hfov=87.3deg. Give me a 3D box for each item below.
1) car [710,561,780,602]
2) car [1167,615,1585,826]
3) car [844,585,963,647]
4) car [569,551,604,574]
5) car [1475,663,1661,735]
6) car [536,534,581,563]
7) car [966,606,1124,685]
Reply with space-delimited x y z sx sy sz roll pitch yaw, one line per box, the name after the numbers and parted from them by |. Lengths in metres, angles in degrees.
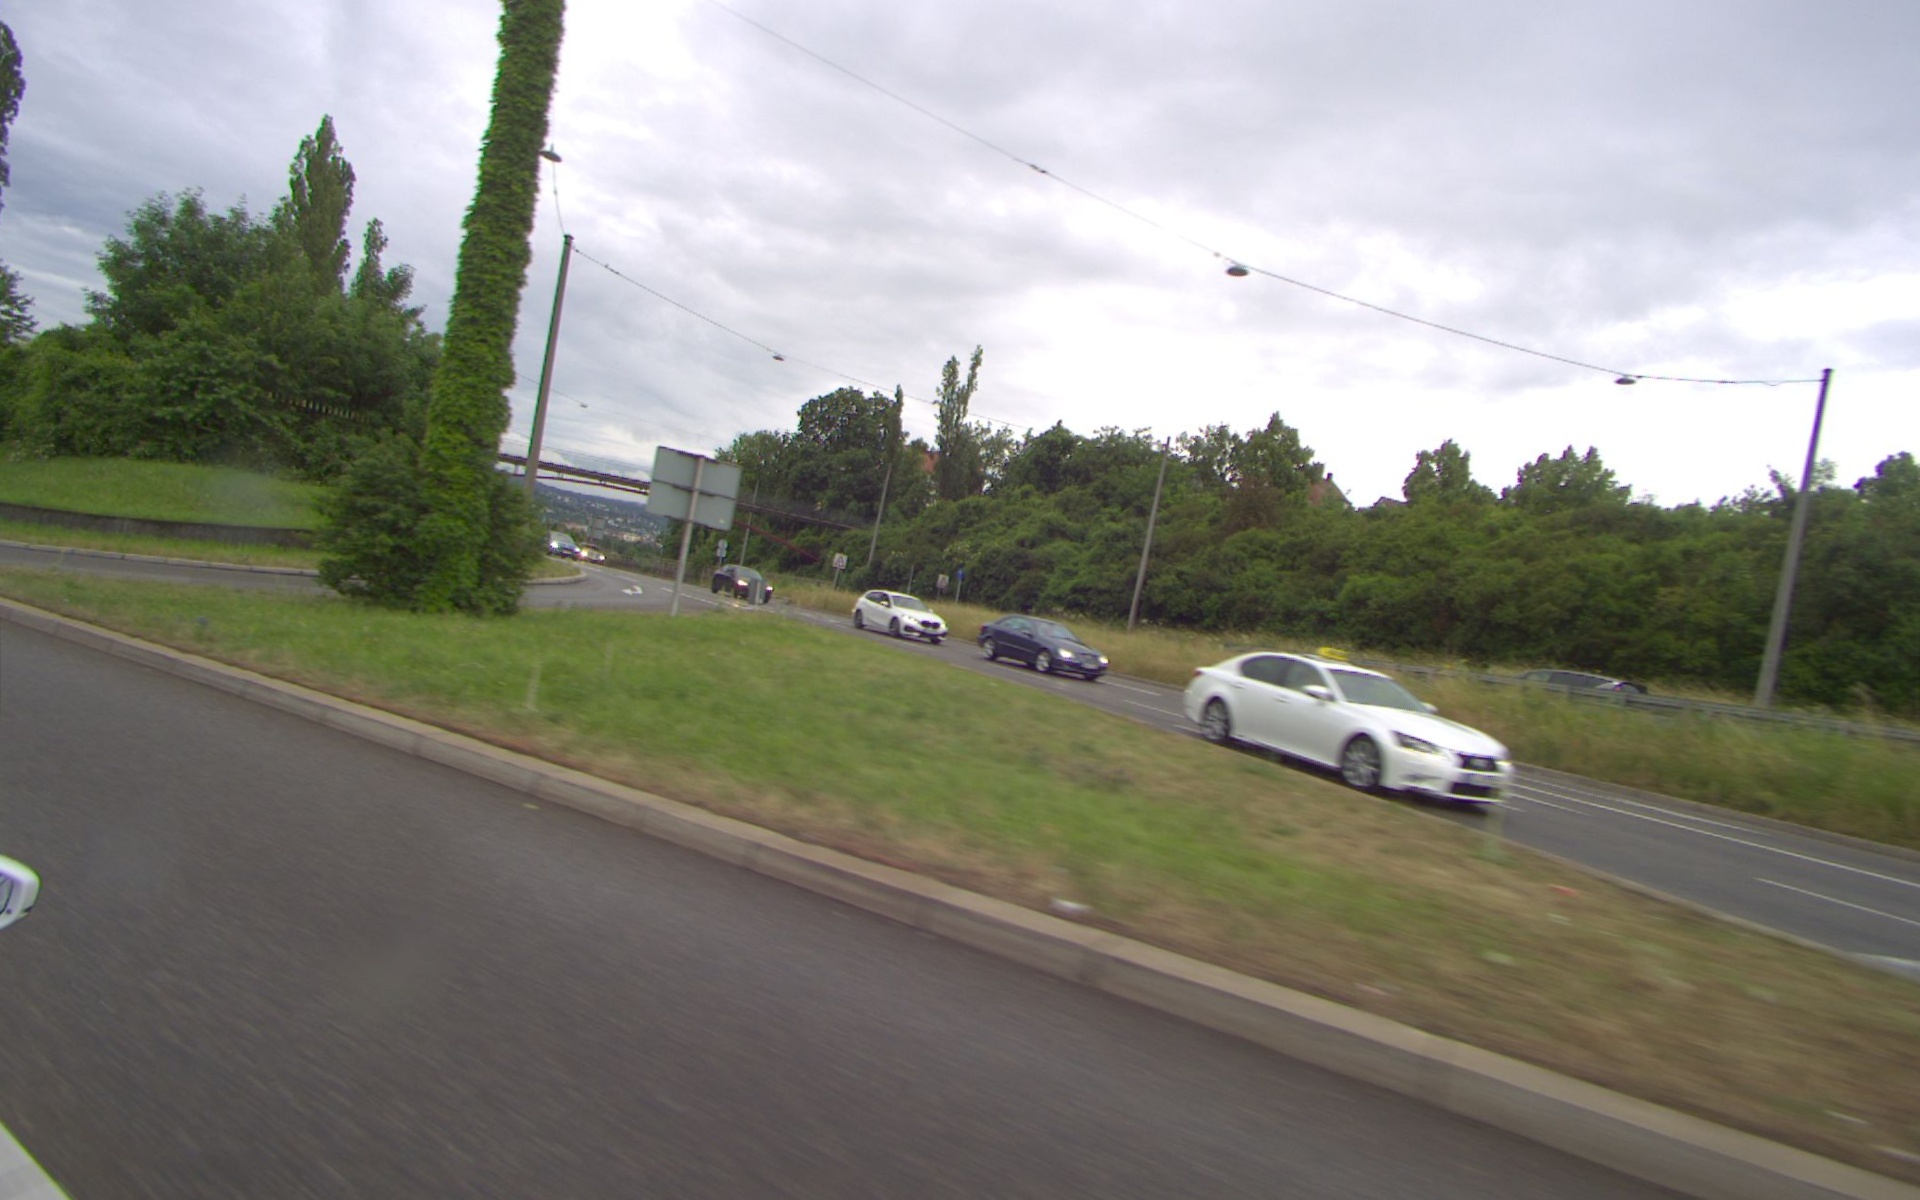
-9.756 -0.869 45.402 1.660 1.430 3.883 9 -1 -33 | car
5.015 1.375 13.139 2.047 1.666 4.963 8 2 -20 | car
-1.979 0.514 34.105 2.056 1.445 4.233 9 0 -33 | car
-29.720 -2.992 80.078 1.660 1.430 3.883 9 -2 -33 | car
17.464 2.807 29.096 1.764 1.364 4.200 11 -3 -26 | car
-24.118 -3.099 60.331 1.660 1.430 3.883 9 -2 -33 | car
2.168 1.162 27.085 1.825 1.367 4.515 9 1 -31 | car
